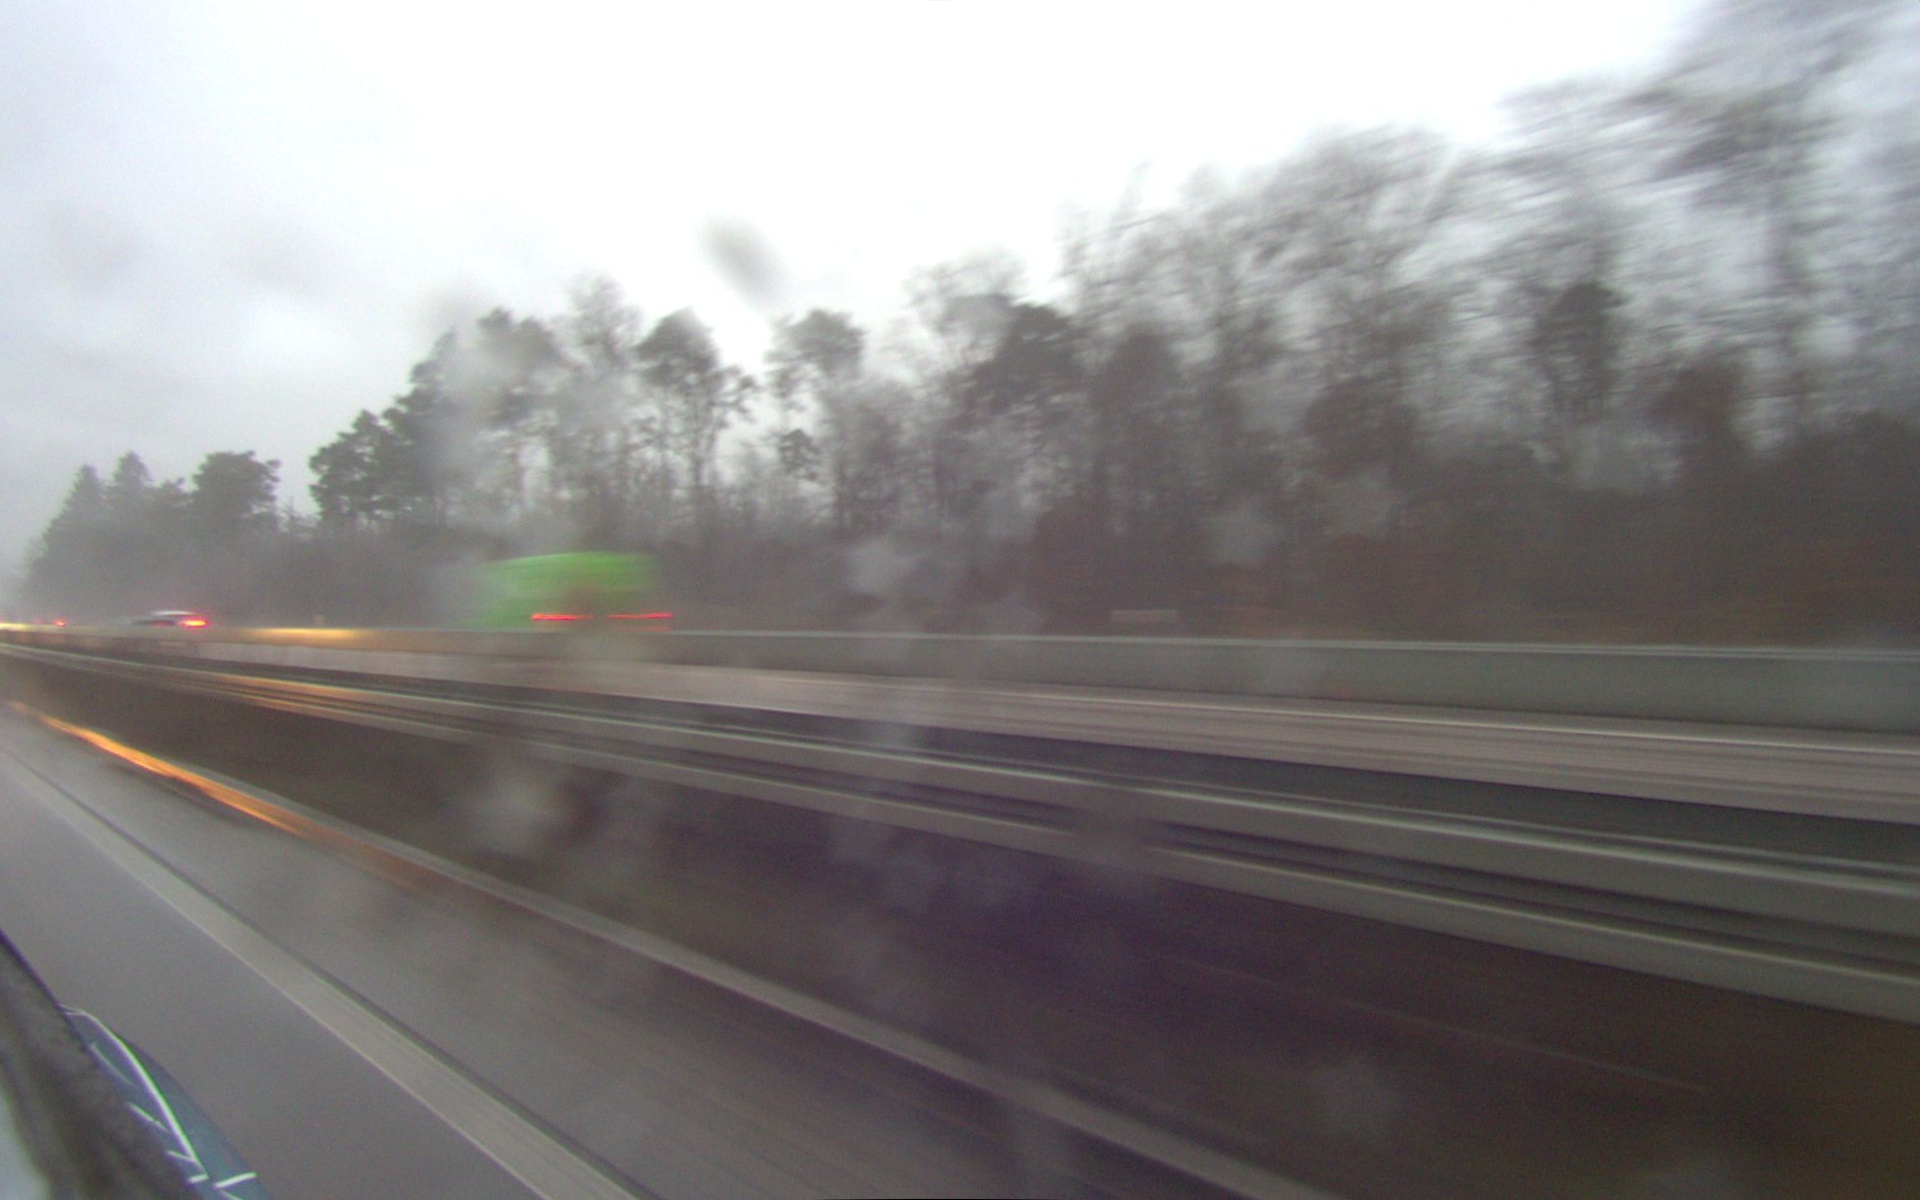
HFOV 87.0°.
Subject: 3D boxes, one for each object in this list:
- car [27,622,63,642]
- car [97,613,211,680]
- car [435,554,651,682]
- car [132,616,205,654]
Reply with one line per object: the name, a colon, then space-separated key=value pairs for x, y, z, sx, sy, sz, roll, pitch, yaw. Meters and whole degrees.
car: x=-69.786 y=2.428 z=77.165 sx=3.646 sy=1.491 sz=1.626 roll=-1 pitch=-1 yaw=41
car: x=-23.555 y=1.307 z=29.529 sx=3.998 sy=1.718 sz=1.884 roll=-2 pitch=1 yaw=41
car: x=-9.761 y=0.419 z=23.355 sx=6.373 sy=2.587 sz=1.982 roll=-1 pitch=-1 yaw=41
car: x=-38.425 y=1.666 z=49.079 sx=5.447 sy=1.708 sz=1.857 roll=-2 pitch=-1 yaw=42
